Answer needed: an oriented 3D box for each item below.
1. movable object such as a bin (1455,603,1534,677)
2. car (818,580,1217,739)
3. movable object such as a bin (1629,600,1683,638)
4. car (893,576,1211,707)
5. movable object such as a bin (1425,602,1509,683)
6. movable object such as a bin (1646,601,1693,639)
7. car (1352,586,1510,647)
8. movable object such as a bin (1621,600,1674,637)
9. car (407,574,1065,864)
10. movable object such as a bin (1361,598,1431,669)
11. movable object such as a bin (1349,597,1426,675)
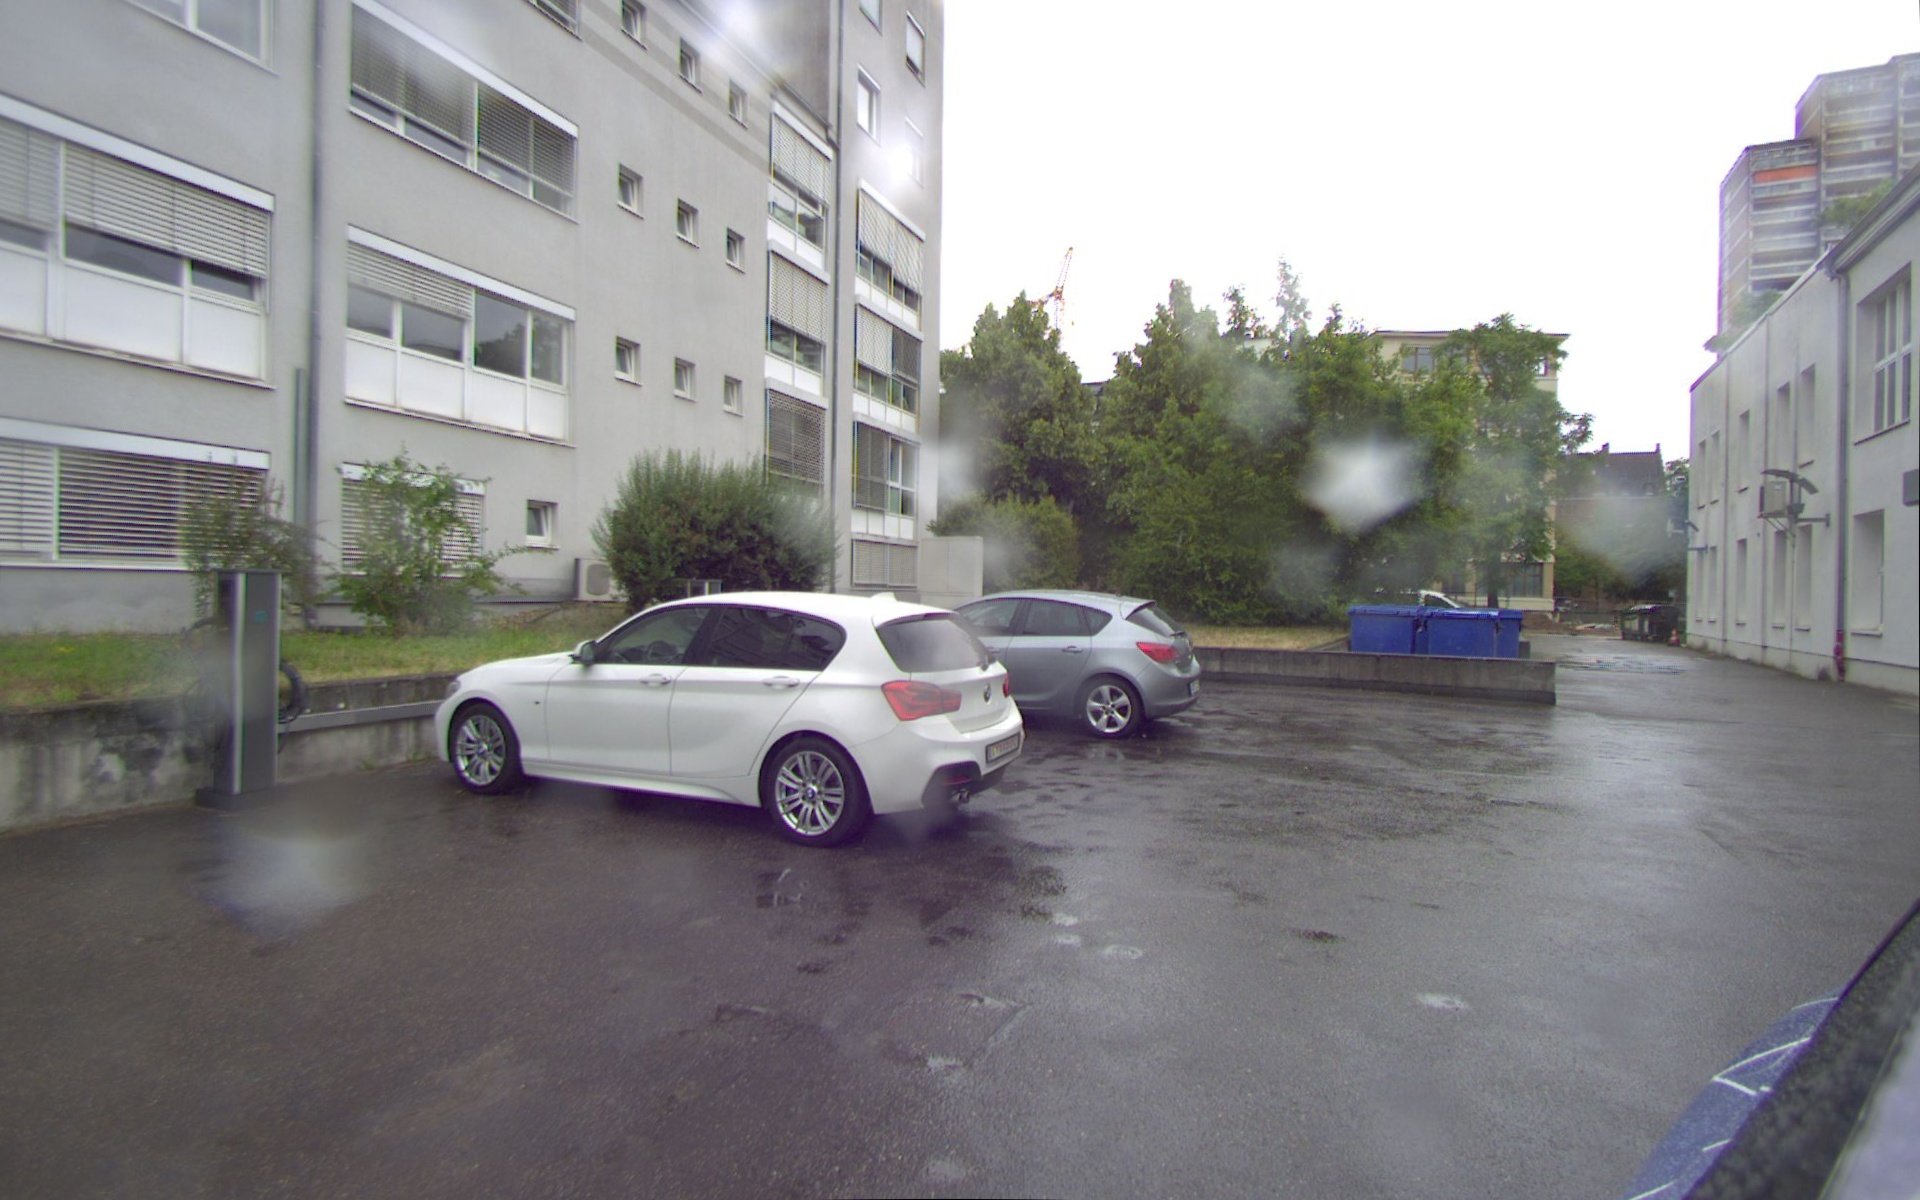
[{"bbox_3d":[10.472,0.778,19.905,1.301,1.375,1.886,0,-2,27],"label":"movable object such as a bin"},{"bbox_3d":[0.675,0.573,11.652,4.175,1.508,1.983,1,0,24],"label":"car"},{"bbox_3d":[27.282,0.737,39.720,1.475,1.467,1.303,0,-2,23],"label":"movable object such as a bin"},{"bbox_3d":[1.339,0.522,14.792,4.179,1.508,1.982,3,1,26],"label":"car"},{"bbox_3d":[9.218,0.761,18.424,1.301,1.375,1.886,0,-2,27],"label":"movable object such as a bin"},{"bbox_3d":[26.793,0.759,38.242,1.174,1.392,1.303,0,-2,22],"label":"movable object such as a bin"},{"bbox_3d":[15.697,0.565,33.777,4.657,1.906,2.100,0,-3,30],"label":"car"},{"bbox_3d":[27.798,0.750,40.955,1.475,1.467,1.303,0,-2,23],"label":"movable object such as a bin"},{"bbox_3d":[-1.559,0.616,7.128,4.175,1.508,1.983,1,0,24],"label":"car"},{"bbox_3d":[8.976,0.691,20.794,1.221,1.375,1.951,0,-2,27],"label":"movable object such as a bin"},{"bbox_3d":[8.061,0.672,19.037,1.221,1.375,1.951,0,-2,27],"label":"movable object such as a bin"}]
